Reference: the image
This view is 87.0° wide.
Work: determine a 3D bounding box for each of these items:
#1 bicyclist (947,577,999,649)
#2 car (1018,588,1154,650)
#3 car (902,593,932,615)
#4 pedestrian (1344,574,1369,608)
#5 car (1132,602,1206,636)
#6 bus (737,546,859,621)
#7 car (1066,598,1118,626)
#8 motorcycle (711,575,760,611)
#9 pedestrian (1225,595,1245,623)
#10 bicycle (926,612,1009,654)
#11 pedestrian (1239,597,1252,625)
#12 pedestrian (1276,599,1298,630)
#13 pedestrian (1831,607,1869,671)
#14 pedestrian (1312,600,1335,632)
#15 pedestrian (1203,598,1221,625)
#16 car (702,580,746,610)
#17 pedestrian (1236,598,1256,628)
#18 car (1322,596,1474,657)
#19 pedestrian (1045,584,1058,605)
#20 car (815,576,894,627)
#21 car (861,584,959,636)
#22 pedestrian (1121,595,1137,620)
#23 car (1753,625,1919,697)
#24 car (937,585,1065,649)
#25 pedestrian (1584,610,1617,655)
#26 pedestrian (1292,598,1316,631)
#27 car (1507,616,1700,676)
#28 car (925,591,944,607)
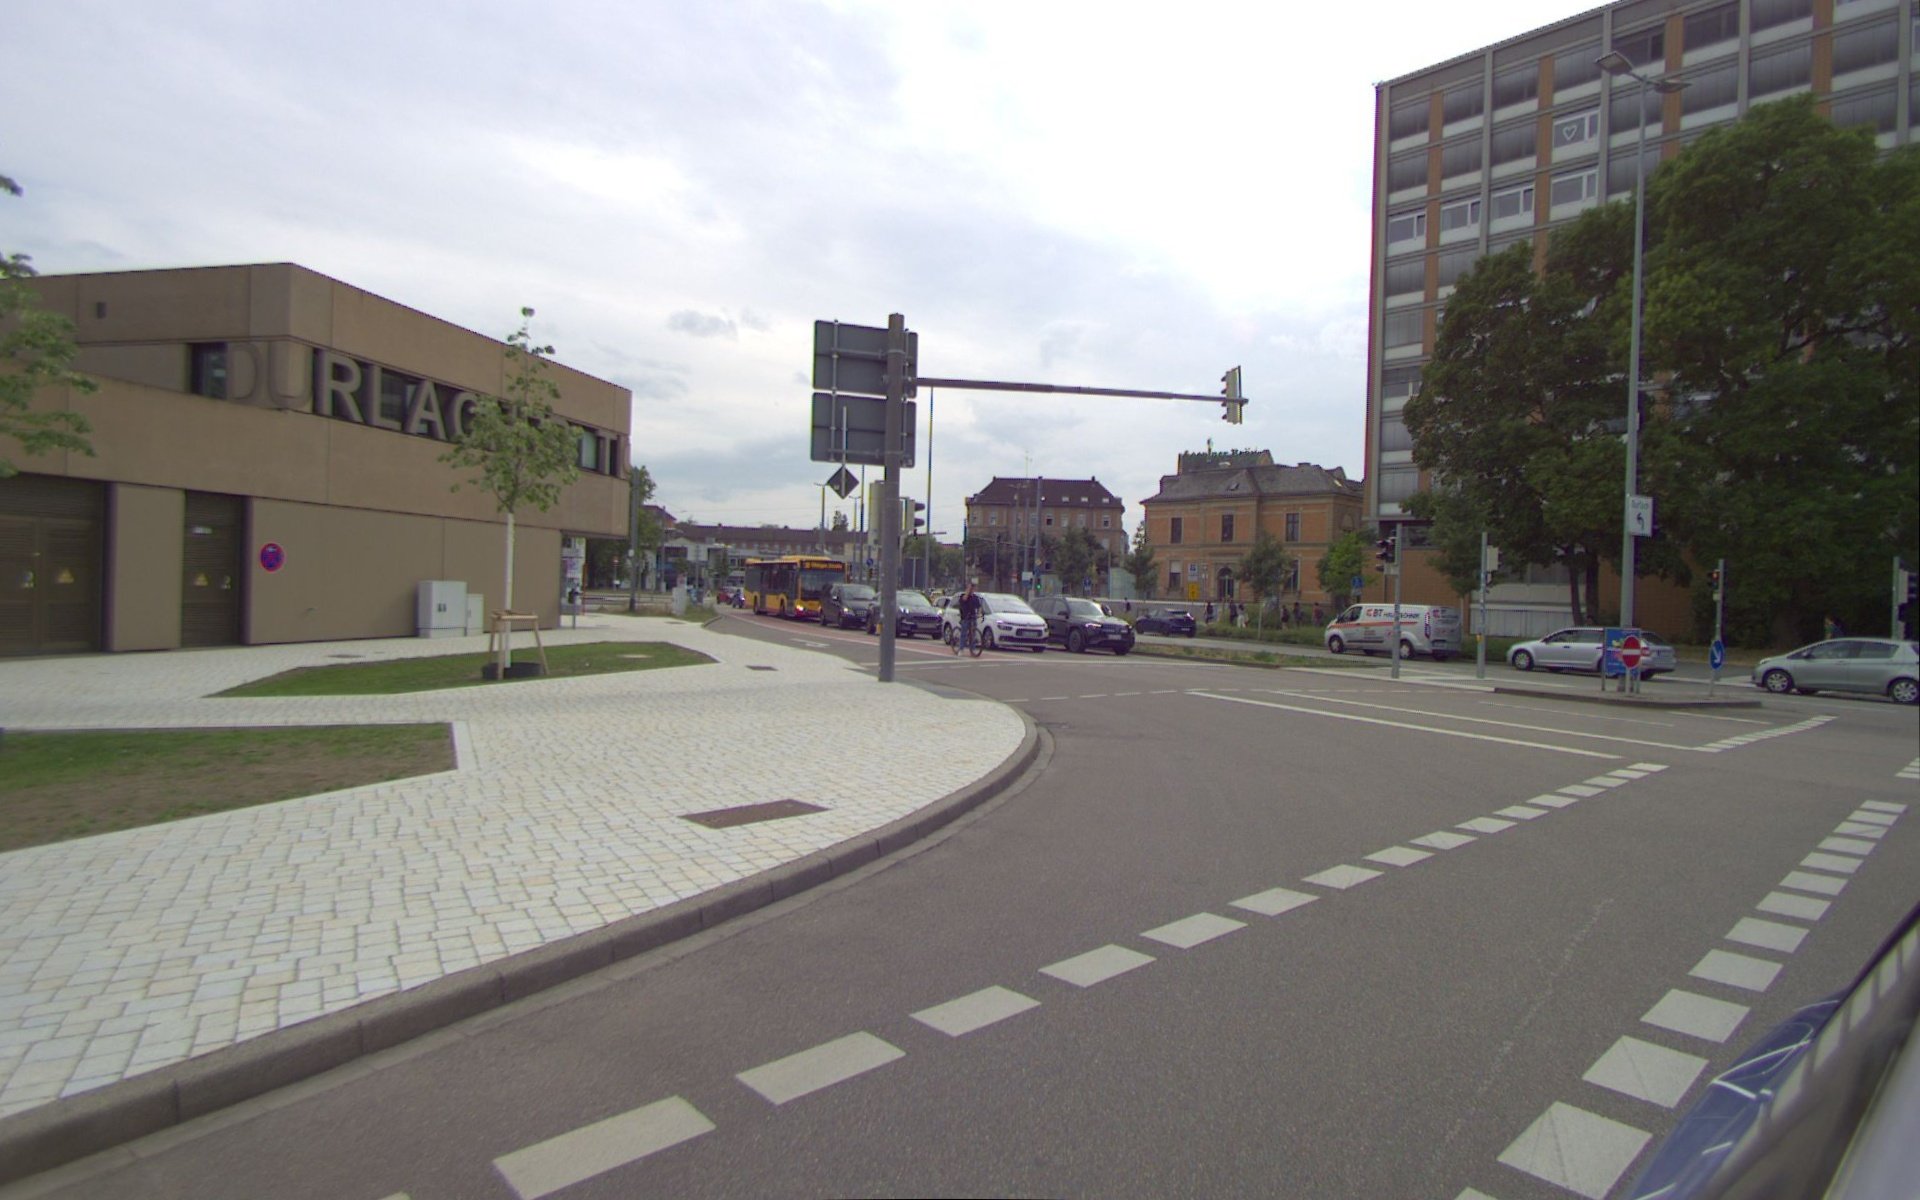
[{"bbox_3d":[0.303,0.310,24.399,0.852,1.690,0.882,3,-1,-30],"label":"bicyclist"},{"bbox_3d":[3.737,0.539,30.817,1.958,1.672,4.520,3,-1,-25],"label":"car"},{"bbox_3d":[-3.625,0.328,84.189,1.724,1.672,4.694,3,-1,-11],"label":"car"},{"bbox_3d":[18.828,-0.451,48.051,0.764,1.593,0.814,0,1,-17],"label":"pedestrian"},{"bbox_3d":[10.648,0.934,51.726,1.824,1.552,4.010,3,-1,-20],"label":"car"},{"bbox_3d":[-8.704,-0.814,52.383,3.092,3.296,12.436,3,-1,-23],"label":"bus"},{"bbox_3d":[7.803,0.719,60.165,1.636,1.527,3.642,3,-1,-17],"label":"car"},{"bbox_3d":[-13.803,-0.434,62.119,1.959,2.039,4.006,3,-1,-27],"label":"motorcycle"},{"bbox_3d":[15.622,0.500,57.509,0.764,1.593,0.814,0,1,-13],"label":"pedestrian"},{"bbox_3d":[0.140,0.791,24.584,0.847,0.888,2.522,3,-1,-29],"label":"bicycle"},{"bbox_3d":[15.918,0.623,56.390,0.546,1.556,0.543,1,1,31],"label":"pedestrian"},{"bbox_3d":[17.154,0.751,53.090,0.764,1.593,0.814,0,1,-13],"label":"pedestrian"},{"bbox_3d":[26.697,1.167,30.367,0.628,1.876,0.708,1,0,-36],"label":"pedestrian"},{"bbox_3d":[18.359,0.789,51.129,0.764,1.593,0.814,0,1,-17],"label":"pedestrian"},{"bbox_3d":[15.230,0.679,61.105,0.764,1.593,0.814,0,1,-13],"label":"pedestrian"},{"bbox_3d":[-16.102,-0.350,68.868,1.958,1.923,4.298,3,-1,-25],"label":"car"},{"bbox_3d":[15.858,0.720,56.202,0.764,1.593,0.814,0,1,-13],"label":"pedestrian"},{"bbox_3d":[15.907,0.917,37.120,1.787,1.984,5.214,3,-1,-25],"label":"car"},{"bbox_3d":[6.990,-0.393,77.554,0.764,1.593,0.814,0,1,-13],"label":"pedestrian"},{"bbox_3d":[-4.485,0.055,42.482,1.958,1.923,4.298,3,-1,-25],"label":"car"},{"bbox_3d":[-1.873,0.312,36.364,1.958,1.672,4.298,3,-1,-25],"label":"car"},{"bbox_3d":[10.977,0.485,65.694,0.764,1.593,0.814,0,1,-13],"label":"pedestrian"},{"bbox_3d":[21.852,1.456,24.440,1.637,1.508,3.881,3,-1,-27],"label":"car"},{"bbox_3d":[1.105,0.458,29.854,1.958,1.672,4.298,3,-1,-25],"label":"car"},{"bbox_3d":[23.670,1.191,37.392,0.766,1.593,0.812,0,1,-36],"label":"pedestrian"},{"bbox_3d":[17.195,0.721,50.569,0.764,1.593,0.814,0,1,-17],"label":"pedestrian"},{"bbox_3d":[18.979,1.324,30.088,1.788,1.493,4.535,3,-1,-27],"label":"car"},{"bbox_3d":[-2.840,-0.081,111.718,1.804,1.635,3.548,3,-1,-4],"label":"car"}]
